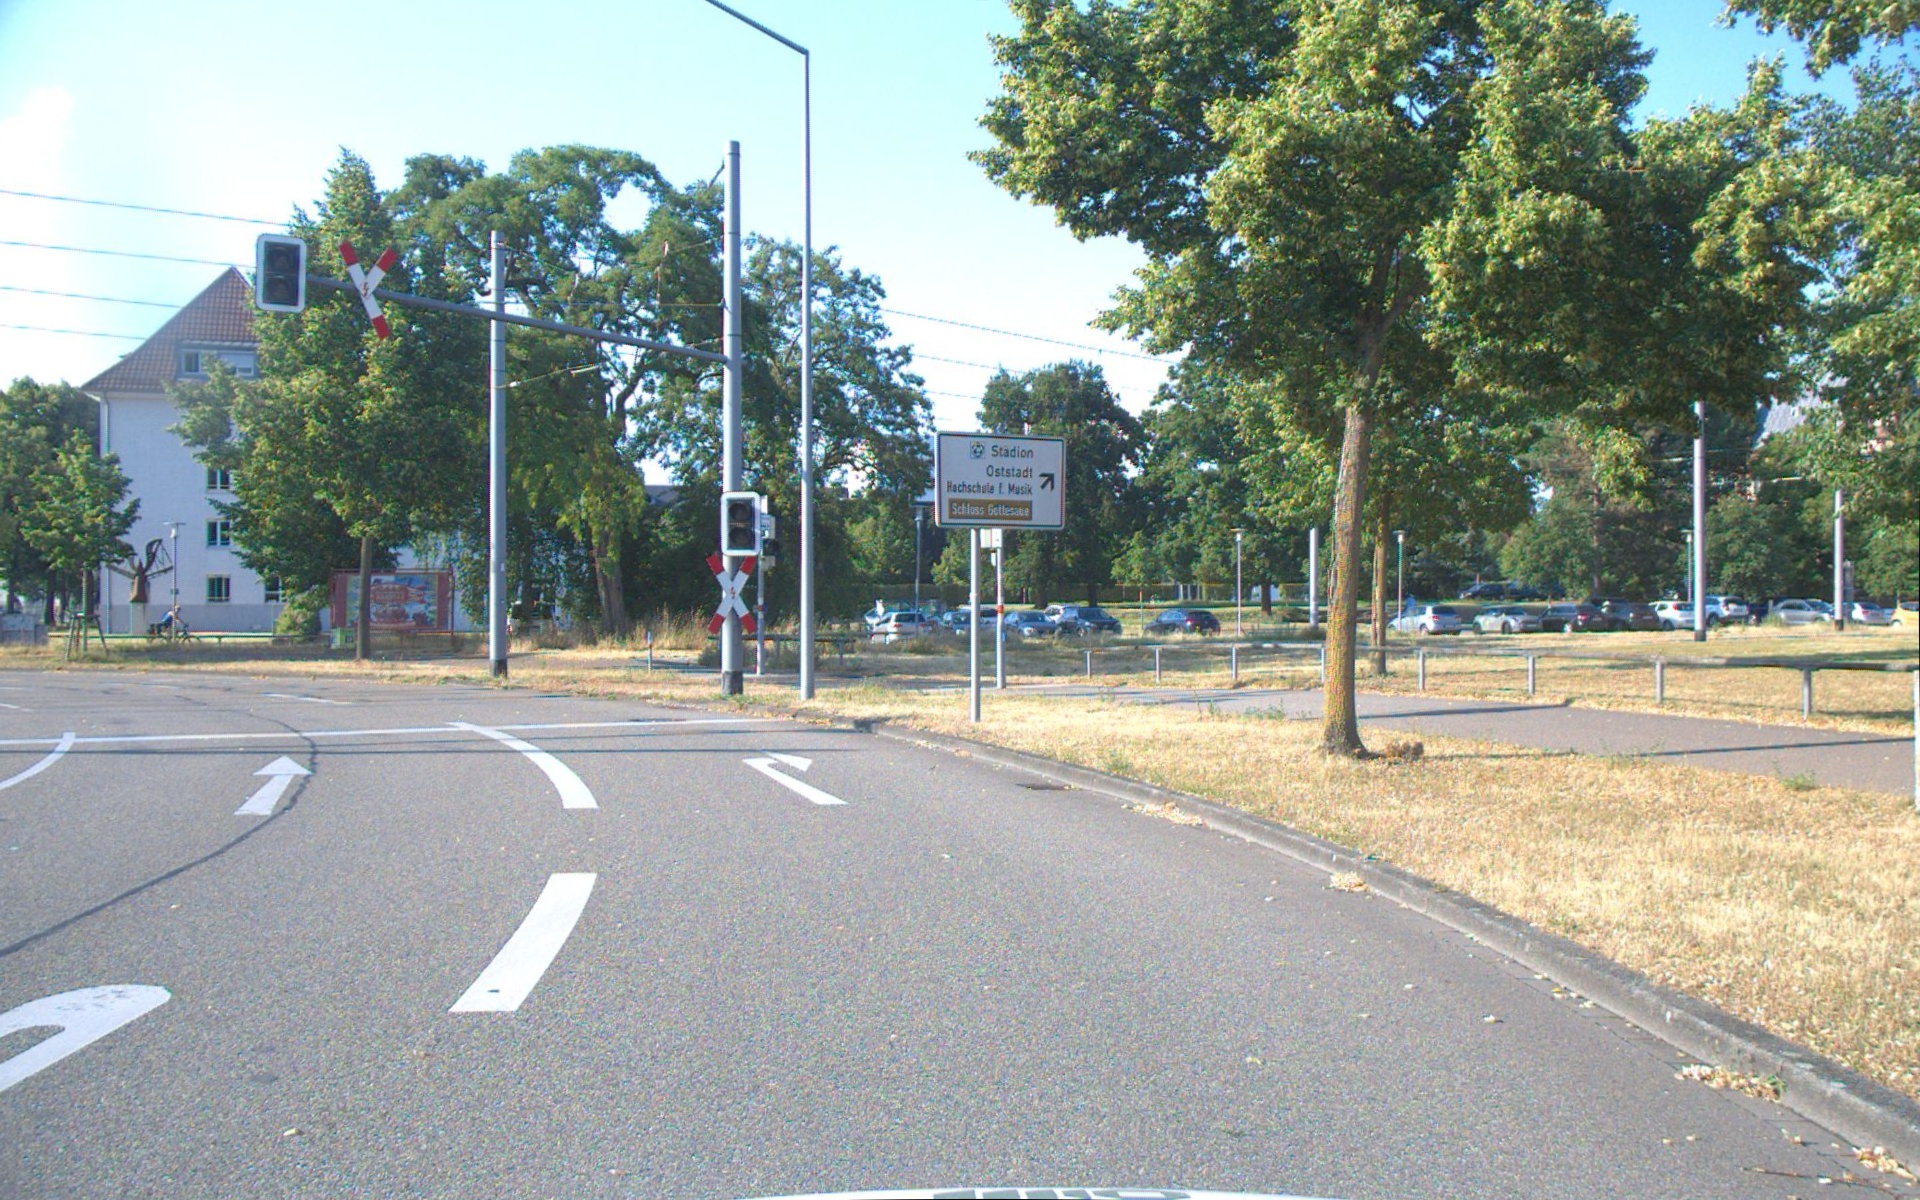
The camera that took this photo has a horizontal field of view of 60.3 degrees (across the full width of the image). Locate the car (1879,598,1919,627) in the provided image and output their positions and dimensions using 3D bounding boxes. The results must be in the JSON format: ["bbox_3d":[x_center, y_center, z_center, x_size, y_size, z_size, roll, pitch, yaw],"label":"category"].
[{"bbox_3d":[48.447,0.610,83.017,1.792,1.427,3.981,0,-1,-17],"label":"car"}]

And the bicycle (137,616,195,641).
[{"bbox_3d":[-30.310,1.088,63.184,0.422,0.934,1.981,0,0,43],"label":"bicycle"}]

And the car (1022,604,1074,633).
[{"bbox_3d":[4.363,0.916,82.233,1.573,1.426,3.956,0,-1,-12],"label":"car"}]

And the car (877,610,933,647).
[{"bbox_3d":[-2.273,1.141,67.022,1.573,1.426,3.956,0,-1,-12],"label":"car"}]

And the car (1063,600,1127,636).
[{"bbox_3d":[5.582,0.756,68.974,1.573,1.426,3.956,0,-1,-12],"label":"car"}]

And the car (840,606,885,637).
[{"bbox_3d":[-4.688,1.014,78.951,1.573,1.426,3.956,0,-1,-12],"label":"car"}]

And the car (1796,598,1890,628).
[{"bbox_3d":[43.282,0.628,81.170,1.792,1.427,3.981,0,-1,-17],"label":"car"}]

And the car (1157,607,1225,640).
[{"bbox_3d":[9.697,0.996,69.766,1.573,1.333,3.956,0,-1,-12],"label":"car"}]

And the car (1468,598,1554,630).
[{"bbox_3d":[25.184,0.653,75.728,1.792,1.427,3.981,0,-1,-17],"label":"car"}]

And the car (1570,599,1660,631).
[{"bbox_3d":[30.292,0.677,76.631,1.792,1.427,3.981,0,-1,-17],"label":"car"}]

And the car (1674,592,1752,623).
[{"bbox_3d":[42.046,0.434,92.446,1.792,1.701,3.981,0,-1,-17],"label":"car"}]

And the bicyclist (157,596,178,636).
[{"bbox_3d":[-30.294,0.614,63.208,0.411,1.537,0.620,0,0,43],"label":"bicyclist"}]

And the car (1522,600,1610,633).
[{"bbox_3d":[27.861,0.760,76.205,1.792,1.427,3.981,0,-1,-17],"label":"car"}]

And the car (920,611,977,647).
[{"bbox_3d":[-0.497,1.192,67.963,1.573,1.426,3.956,0,-1,-12],"label":"car"}]

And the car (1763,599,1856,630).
[{"bbox_3d":[41.101,0.703,80.118,1.792,1.427,3.981,0,-1,-17],"label":"car"}]

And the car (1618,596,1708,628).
[{"bbox_3d":[33.034,0.576,77.860,1.792,1.427,3.981,0,-1,-17],"label":"car"}]

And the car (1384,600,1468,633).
[{"bbox_3d":[20.866,0.727,74.273,1.792,1.427,3.981,0,-1,-17],"label":"car"}]

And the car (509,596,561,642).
[{"bbox_3d":[-15.922,0.706,62.104,1.740,1.646,3.956,0,-1,-12],"label":"car"}]

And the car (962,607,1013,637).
[{"bbox_3d":[1.299,1.059,80.014,1.573,1.426,3.956,0,-1,-12],"label":"car"}]

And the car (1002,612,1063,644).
[{"bbox_3d":[2.970,1.151,68.467,1.573,1.242,3.956,0,-1,-12],"label":"car"}]
